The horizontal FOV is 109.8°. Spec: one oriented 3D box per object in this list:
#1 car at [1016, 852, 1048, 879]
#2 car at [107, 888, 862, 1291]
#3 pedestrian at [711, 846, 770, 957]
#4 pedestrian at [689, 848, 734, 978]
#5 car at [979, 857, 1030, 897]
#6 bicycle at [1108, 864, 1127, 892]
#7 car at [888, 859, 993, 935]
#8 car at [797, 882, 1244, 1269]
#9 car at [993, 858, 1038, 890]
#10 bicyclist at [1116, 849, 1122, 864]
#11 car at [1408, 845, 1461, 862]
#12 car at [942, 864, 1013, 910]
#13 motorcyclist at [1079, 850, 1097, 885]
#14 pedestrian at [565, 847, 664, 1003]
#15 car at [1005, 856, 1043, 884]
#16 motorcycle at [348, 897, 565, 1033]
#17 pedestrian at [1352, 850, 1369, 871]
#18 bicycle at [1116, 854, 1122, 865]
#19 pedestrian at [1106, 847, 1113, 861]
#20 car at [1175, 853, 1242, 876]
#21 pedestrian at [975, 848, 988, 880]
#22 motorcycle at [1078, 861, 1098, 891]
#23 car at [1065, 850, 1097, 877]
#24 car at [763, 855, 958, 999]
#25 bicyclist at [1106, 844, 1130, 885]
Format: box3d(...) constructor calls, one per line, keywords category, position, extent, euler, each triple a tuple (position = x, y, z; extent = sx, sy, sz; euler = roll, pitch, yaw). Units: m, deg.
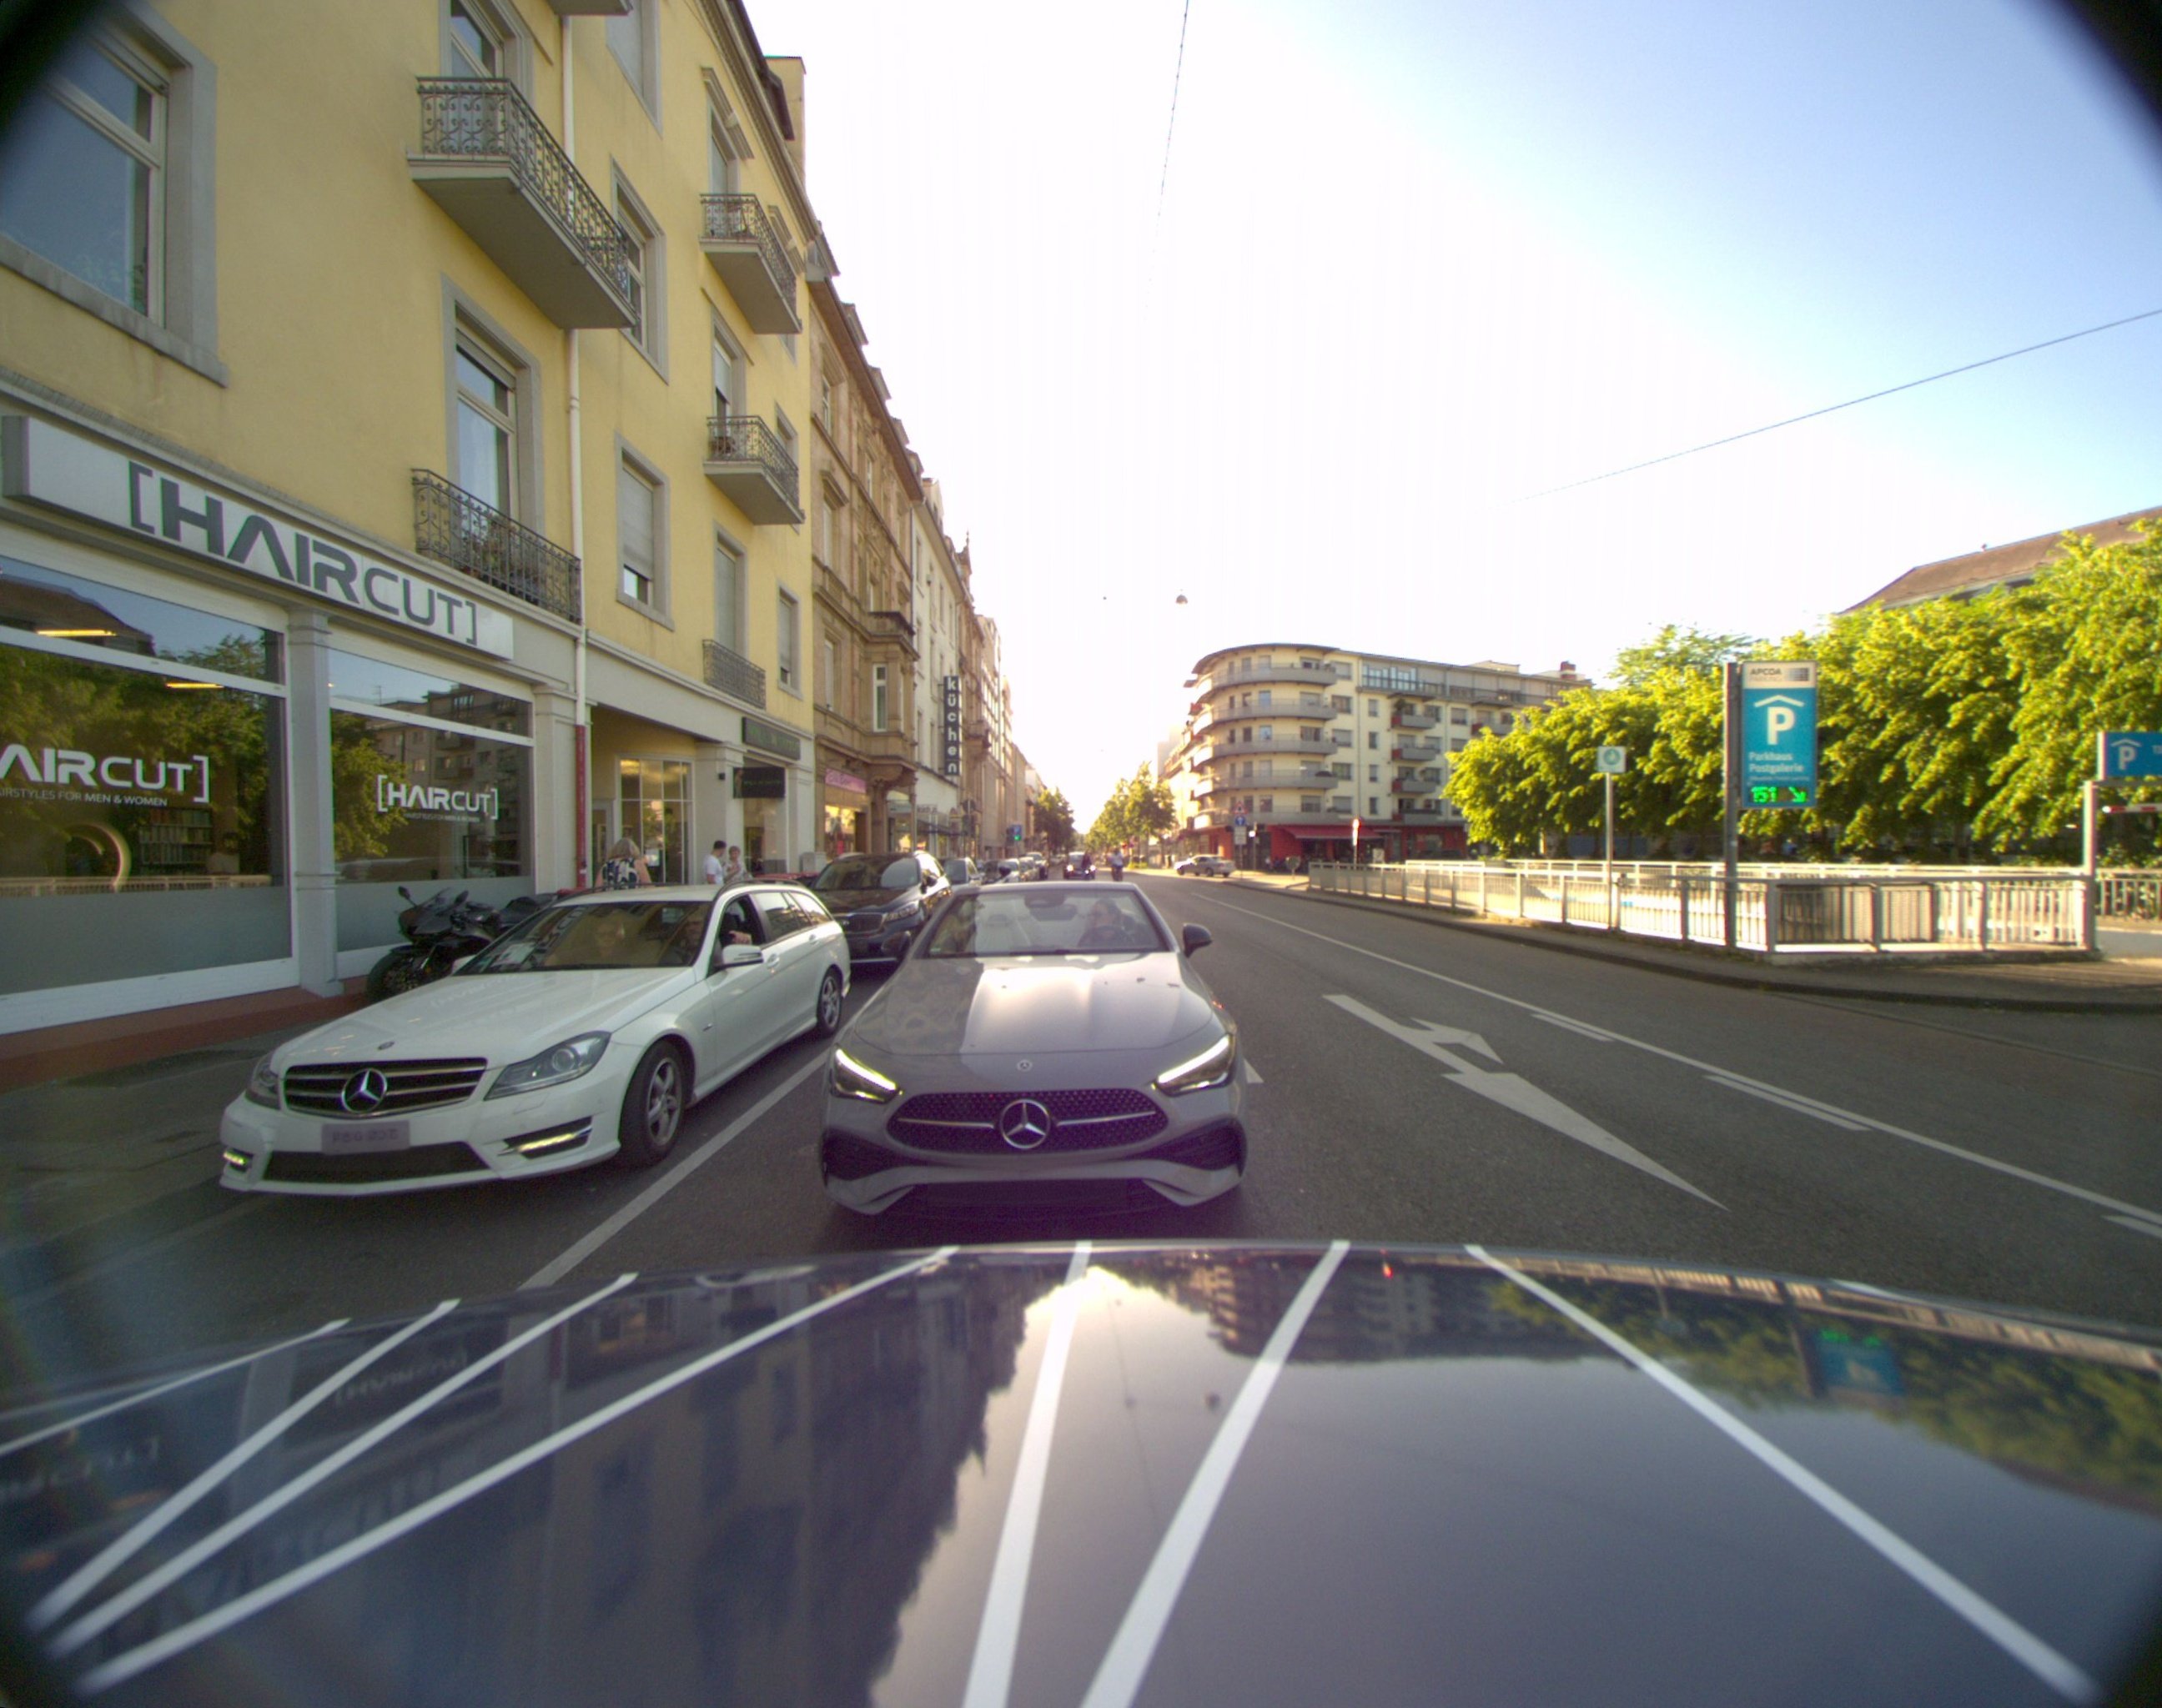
box3d(category="car", position=(-3.044, 0.694, 47.549), extent=(1.725, 1.506, 4.004), euler=(-2, 1, -1))
box3d(category="car", position=(-3.065, 1.067, 5.293), extent=(1.704, 1.351, 4.378), euler=(-2, 1, 1))
box3d(category="pedestrian", position=(-5.836, 0.797, 13.038), extent=(0.664, 1.840, 0.575), euler=(-2, 1, 2))
box3d(category="pedestrian", position=(-5.788, 0.903, 11.928), extent=(0.374, 1.971, 0.694), euler=(-1, 1, -6))
box3d(category="car", position=(-3.035, 0.878, 30.790), extent=(1.660, 1.423, 4.085), euler=(-2, 1, -1))
box3d(category="bicycle", position=(1.534, 0.972, 31.509), extent=(0.640, 1.078, 2.062), euler=(-1, 0, 6))
box3d(category="car", position=(-3.292, 0.941, 18.569), extent=(1.802, 1.518, 4.085), euler=(-2, 1, -1))
box3d(category="car", position=(-0.267, 0.993, 5.156), extent=(1.802, 1.351, 3.999), euler=(-2, 1, -1))
box3d(category="car", position=(-3.124, 0.924, 36.905), extent=(1.802, 1.332, 3.838), euler=(-2, 1, -1))
box3d(category="bicyclist", position=(4.093, 0.271, 81.804), extent=(0.524, 1.539, 0.798), euler=(-2, 1, 1))
box3d(category="car", position=(29.053, -0.057, 62.431), extent=(4.004, 1.294, 1.753), euler=(-2, 1, -23))
box3d(category="car", position=(-3.366, 1.034, 25.411), extent=(1.802, 1.259, 4.085), euler=(-2, 1, -1))
box3d(category="motorcyclist", position=(0.297, 0.562, 32.521), extent=(0.722, 1.438, 0.705), euler=(-2, 1, 2))
box3d(category="pedestrian", position=(-5.125, 0.753, 8.378), extent=(0.719, 1.644, 0.606), euler=(1, 1, 1))
box3d(category="car", position=(-3.038, 0.841, 41.141), extent=(1.725, 1.332, 3.668), euler=(-2, 1, -1))
box3d(category="motorcycle", position=(-6.227, 1.044, 7.744), extent=(0.567, 1.072, 1.954), euler=(2, 1, 1))
box3d(category="pedestrian", position=(21.781, 0.506, 59.298), extent=(0.863, 1.586, 0.887), euler=(-3, 1, -38))
box3d(category="bicycle", position=(4.107, 0.622, 81.837), extent=(0.527, 1.163, 1.593), euler=(-2, 1, 1))
box3d(category="pedestrian", position=(4.002, -0.020, 107.090), extent=(0.860, 2.002, 0.889), euler=(-2, 1, 1))
box3d(category="car", position=(8.502, 0.655, 50.876), extent=(1.828, 1.346, 4.252), euler=(0, 2, -39))
box3d(category="pedestrian", position=(-5.861, 0.562, 44.738), extent=(0.574, 1.840, 0.665), euler=(-2, 1, 1))
box3d(category="motorcycle", position=(0.308, 0.929, 32.504), extent=(0.720, 1.177, 1.906), euler=(-2, 1, 2))
box3d(category="car", position=(0.006, 0.584, 47.767), extent=(1.856, 1.543, 3.999), euler=(-2, 1, 1))
box3d(category="car", position=(-3.002, 0.883, 11.307), extent=(1.803, 1.629, 4.243), euler=(-2, 1, -3))
box3d(category="bicyclist", position=(1.532, 0.433, 31.609), extent=(0.885, 1.625, 0.769), euler=(-2, 1, 6))
